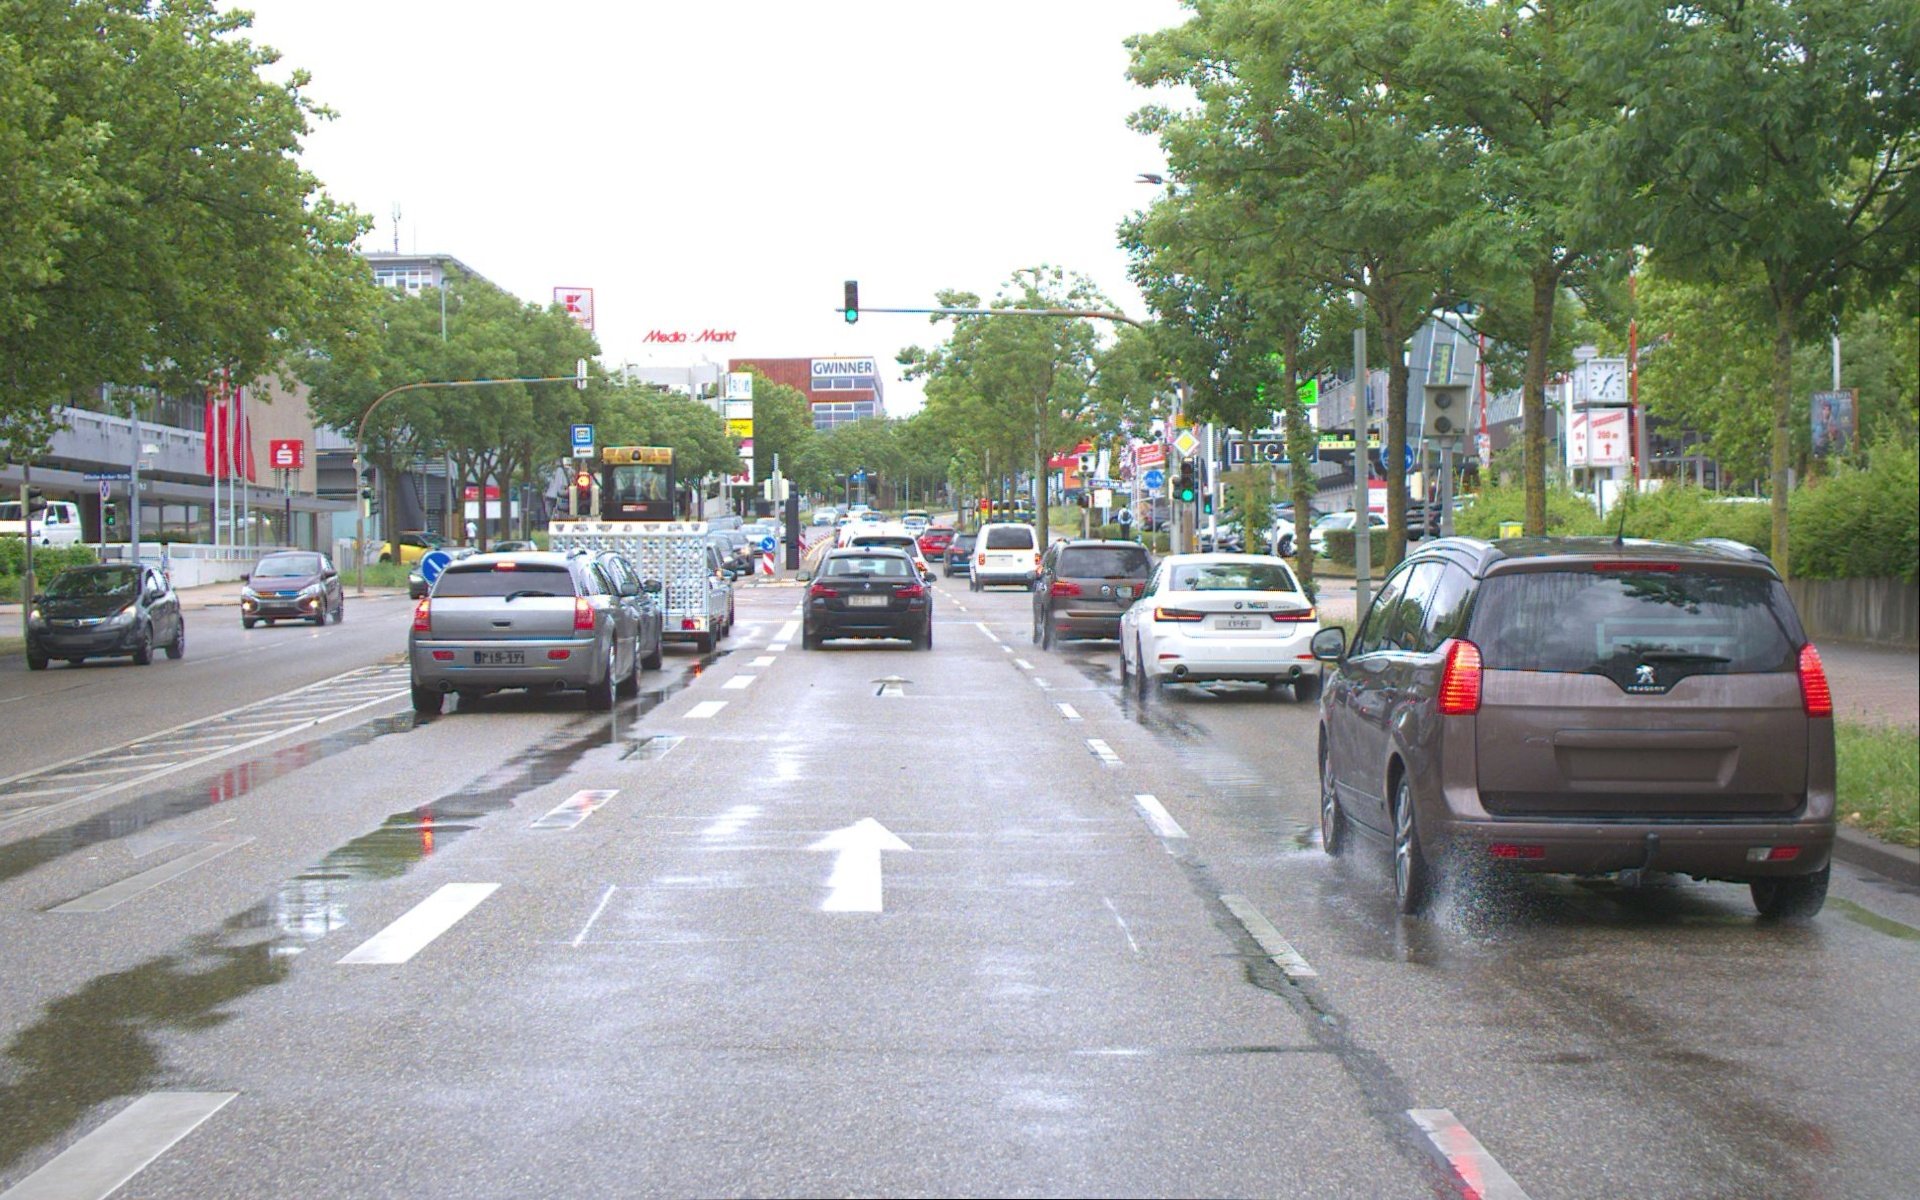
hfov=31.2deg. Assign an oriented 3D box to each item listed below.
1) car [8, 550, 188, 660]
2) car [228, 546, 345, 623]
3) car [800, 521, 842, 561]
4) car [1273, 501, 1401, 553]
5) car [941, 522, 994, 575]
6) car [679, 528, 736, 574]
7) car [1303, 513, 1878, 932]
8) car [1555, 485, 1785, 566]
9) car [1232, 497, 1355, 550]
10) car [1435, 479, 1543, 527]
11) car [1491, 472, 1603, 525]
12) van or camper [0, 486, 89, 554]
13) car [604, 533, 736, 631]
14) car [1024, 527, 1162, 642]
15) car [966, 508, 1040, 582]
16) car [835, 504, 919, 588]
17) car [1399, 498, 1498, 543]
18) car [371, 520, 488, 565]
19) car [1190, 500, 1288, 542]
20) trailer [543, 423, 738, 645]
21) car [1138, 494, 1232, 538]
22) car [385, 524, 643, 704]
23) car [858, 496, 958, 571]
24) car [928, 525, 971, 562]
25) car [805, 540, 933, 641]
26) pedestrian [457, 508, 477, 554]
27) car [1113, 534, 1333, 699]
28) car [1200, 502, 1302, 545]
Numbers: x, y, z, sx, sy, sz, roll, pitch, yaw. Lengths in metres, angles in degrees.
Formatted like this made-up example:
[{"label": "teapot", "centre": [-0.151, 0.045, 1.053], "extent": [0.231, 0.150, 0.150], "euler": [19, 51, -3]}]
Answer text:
[{"label": "car", "centre": [-12.427, 0.037, 49.776], "extent": [1.709, 1.460, 4.086], "euler": [-2, 1, -3]}, {"label": "car", "centre": [-13.712, -0.336, 70.199], "extent": [1.709, 1.460, 4.086], "euler": [-2, 1, -3]}, {"label": "car", "centre": [-7.158, -3.055, 177.769], "extent": [1.993, 2.007, 4.000], "euler": [1, 0, 0]}, {"label": "car", "centre": [11.922, -2.306, 108.504], "extent": [1.930, 1.571, 4.278], "euler": [0, 2, 41]}, {"label": "car", "centre": [0.233, -1.654, 111.858], "extent": [1.685, 1.678, 3.403], "euler": [1, 0, 0]}, {"label": "car", "centre": [-7.812, -1.525, 106.167], "extent": [1.682, 1.372, 4.001], "euler": [-1, 1, -5]}, {"label": "car", "centre": [2.694, 0.437, 15.695], "extent": [1.726, 1.619, 4.471], "euler": [-1, 1, -1]}, {"label": "car", "centre": [13.351, -1.402, 64.794], "extent": [3.987, 1.437, 1.655], "euler": [-1, 1, 1]}, {"label": "car", "centre": [11.711, -2.692, 120.623], "extent": [4.016, 1.657, 1.982], "euler": [-4, 3, -40]}, {"label": "car", "centre": [19.956, -3.664, 129.593], "extent": [4.142, 1.765, 1.737], "euler": [-2, 2, -40]}, {"label": "car", "centre": [20.490, -3.547, 119.926], "extent": [4.143, 1.765, 1.737], "euler": [-2, 2, -44]}, {"label": "van or camper", "centre": [-28.274, -2.428, 105.363], "extent": [1.993, 1.960, 4.789], "euler": [1, 0, -1]}, {"label": "car", "centre": [-4.554, -0.320, 54.536], "extent": [1.765, 1.453, 4.781], "euler": [-1, 1, -1]}, {"label": "car", "centre": [1.933, -0.265, 51.110], "extent": [1.801, 1.581, 4.451], "euler": [1, 1, -1]}, {"label": "car", "centre": [1.120, -1.468, 91.114], "extent": [1.781, 1.860, 4.000], "euler": [-1, 1, -2]}, {"label": "car", "centre": [-2.062, -1.328, 85.603], "extent": [1.993, 2.007, 4.000], "euler": [1, 0, -1]}, {"label": "car", "centre": [19.383, -3.164, 136.274], "extent": [3.964, 1.714, 1.633], "euler": [-2, 2, -40]}, {"label": "car", "centre": [-19.612, -2.117, 127.082], "extent": [3.994, 1.546, 1.896], "euler": [0, 2, 33]}, {"label": "car", "centre": [10.892, -3.100, 134.058], "extent": [3.589, 1.530, 1.796], "euler": [-3, 2, -40]}, {"label": "trailer", "centre": [-4.403, -0.920, 48.198], "extent": [2.372, 2.887, 5.546], "euler": [-1, 1, -2]}, {"label": "car", "centre": [10.182, -3.824, 155.842], "extent": [4.111, 1.898, 1.800], "euler": [-1, 2, 1]}, {"label": "car", "centre": [-4.224, 0.084, 33.281], "extent": [1.907, 1.573, 4.881], "euler": [-1, 1, -1]}, {"label": "car", "centre": [-1.038, -1.301, 66.802], "extent": [1.682, 1.372, 4.001], "euler": [-1, 1, -5]}, {"label": "car", "centre": [-0.427, -2.294, 139.677], "extent": [1.695, 1.438, 3.989], "euler": [-1, 0, -1]}, {"label": "car", "centre": [-1.323, -0.172, 49.915], "extent": [1.781, 1.393, 4.000], "euler": [0, 1, -2]}, {"label": "pedestrian", "centre": [-23.706, -3.317, 165.377], "extent": [0.858, 2.210, 0.846], "euler": [-1, 2, -4]}, {"label": "car", "centre": [2.604, 0.115, 34.996], "extent": [1.801, 1.539, 4.620], "euler": [1, 1, -1]}, {"label": "car", "centre": [10.704, -2.810, 126.357], "extent": [3.589, 1.530, 1.643], "euler": [-2, 2, -40]}]
